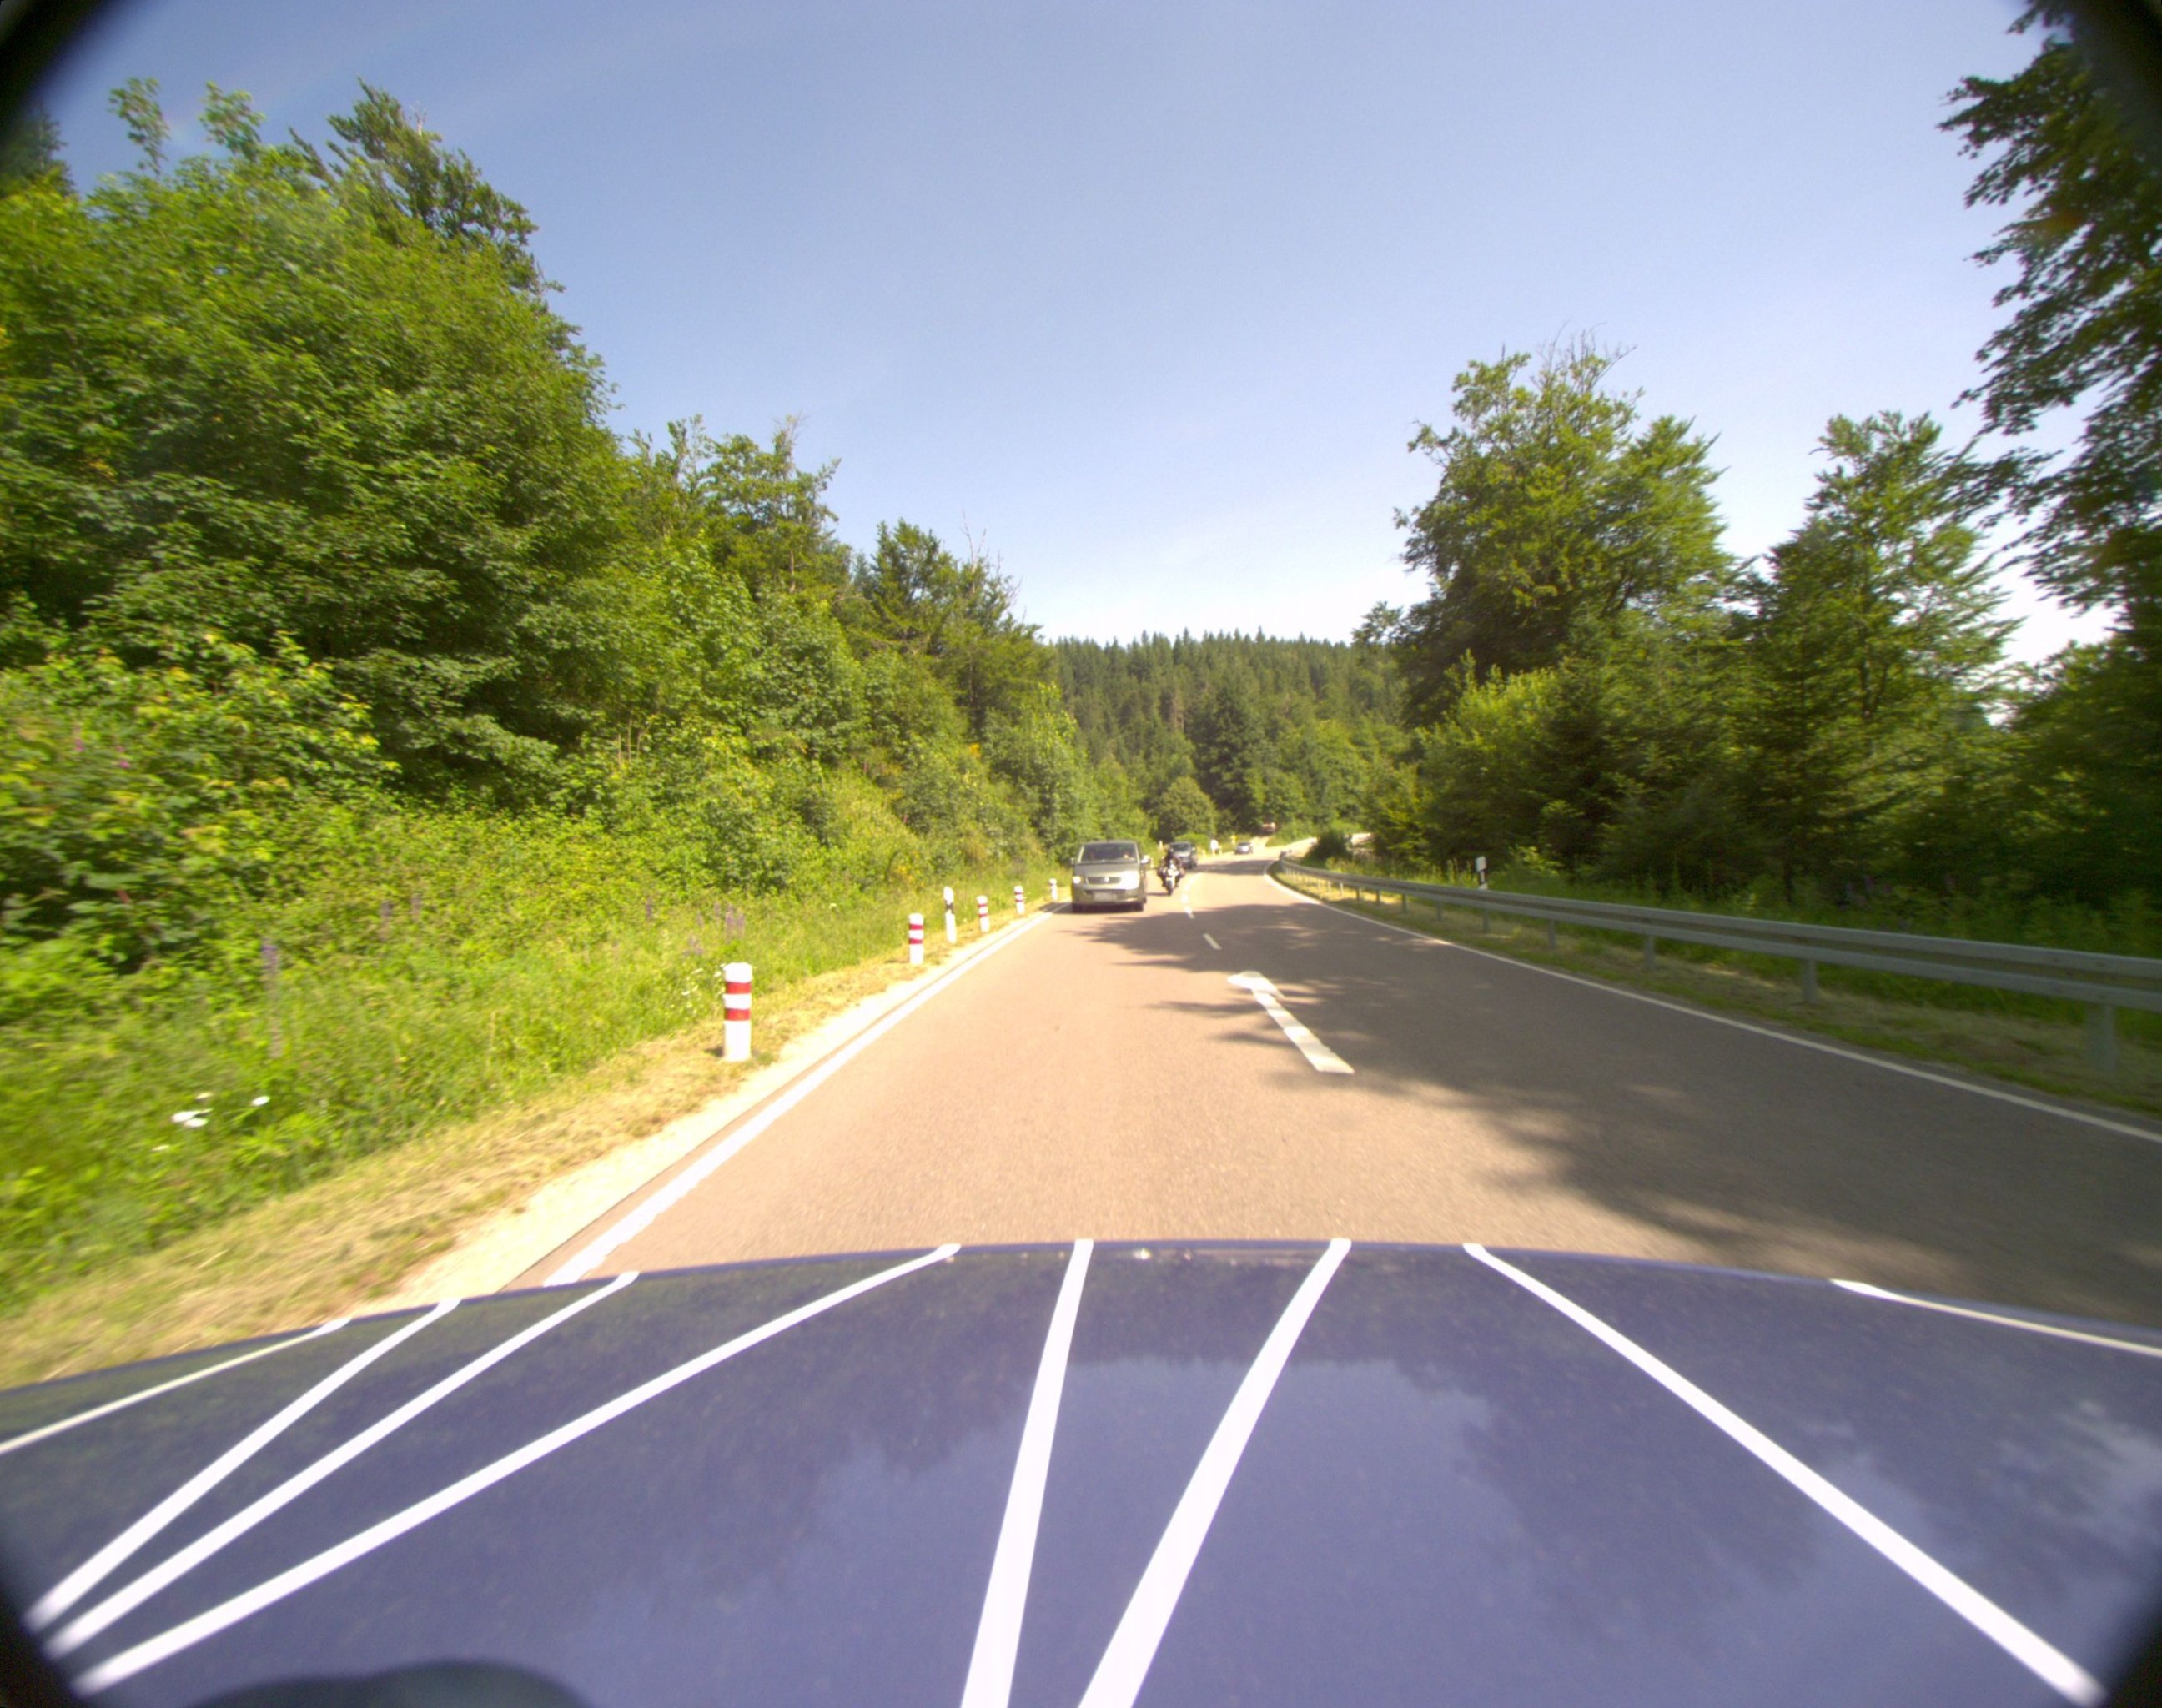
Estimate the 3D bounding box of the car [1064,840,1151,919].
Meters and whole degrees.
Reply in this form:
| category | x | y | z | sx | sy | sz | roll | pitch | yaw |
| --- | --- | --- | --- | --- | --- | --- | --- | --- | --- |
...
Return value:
| category | x | y | z | sx | sy | sz | roll | pitch | yaw |
| --- | --- | --- | --- | --- | --- | --- | --- | --- | --- |
| car | 0.891 | 0.606 | 21.524 | 2.028 | 1.940 | 4.901 | -2 | 1 | 6 |

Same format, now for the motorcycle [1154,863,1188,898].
| category | x | y | z | sx | sy | sz | roll | pitch | yaw |
| --- | --- | --- | --- | --- | --- | --- | --- | --- | --- |
| motorcycle | 3.158 | 0.902 | 26.658 | 1.109 | 1.117 | 1.962 | -2 | 1 | 7 |

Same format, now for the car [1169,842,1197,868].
| category | x | y | z | sx | sy | sz | roll | pitch | yaw |
| --- | --- | --- | --- | --- | --- | --- | --- | --- | --- |
| car | 7.308 | 0.038 | 54.156 | 1.651 | 1.749 | 3.797 | -1 | 1 | 13 |

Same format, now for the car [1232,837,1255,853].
| category | x | y | z | sx | sy | sz | roll | pitch | yaw |
| --- | --- | --- | --- | --- | --- | --- | --- | --- | --- |
| car | 18.892 | -1.053 | 88.256 | 1.996 | 1.634 | 4.004 | -2 | 1 | 19 |

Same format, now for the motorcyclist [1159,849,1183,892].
| category | x | y | z | sx | sy | sz | roll | pitch | yaw |
| --- | --- | --- | --- | --- | --- | --- | --- | --- | --- |
| motorcyclist | 3.150 | 0.563 | 26.531 | 0.716 | 1.422 | 1.000 | -4 | 0 | 9 |
